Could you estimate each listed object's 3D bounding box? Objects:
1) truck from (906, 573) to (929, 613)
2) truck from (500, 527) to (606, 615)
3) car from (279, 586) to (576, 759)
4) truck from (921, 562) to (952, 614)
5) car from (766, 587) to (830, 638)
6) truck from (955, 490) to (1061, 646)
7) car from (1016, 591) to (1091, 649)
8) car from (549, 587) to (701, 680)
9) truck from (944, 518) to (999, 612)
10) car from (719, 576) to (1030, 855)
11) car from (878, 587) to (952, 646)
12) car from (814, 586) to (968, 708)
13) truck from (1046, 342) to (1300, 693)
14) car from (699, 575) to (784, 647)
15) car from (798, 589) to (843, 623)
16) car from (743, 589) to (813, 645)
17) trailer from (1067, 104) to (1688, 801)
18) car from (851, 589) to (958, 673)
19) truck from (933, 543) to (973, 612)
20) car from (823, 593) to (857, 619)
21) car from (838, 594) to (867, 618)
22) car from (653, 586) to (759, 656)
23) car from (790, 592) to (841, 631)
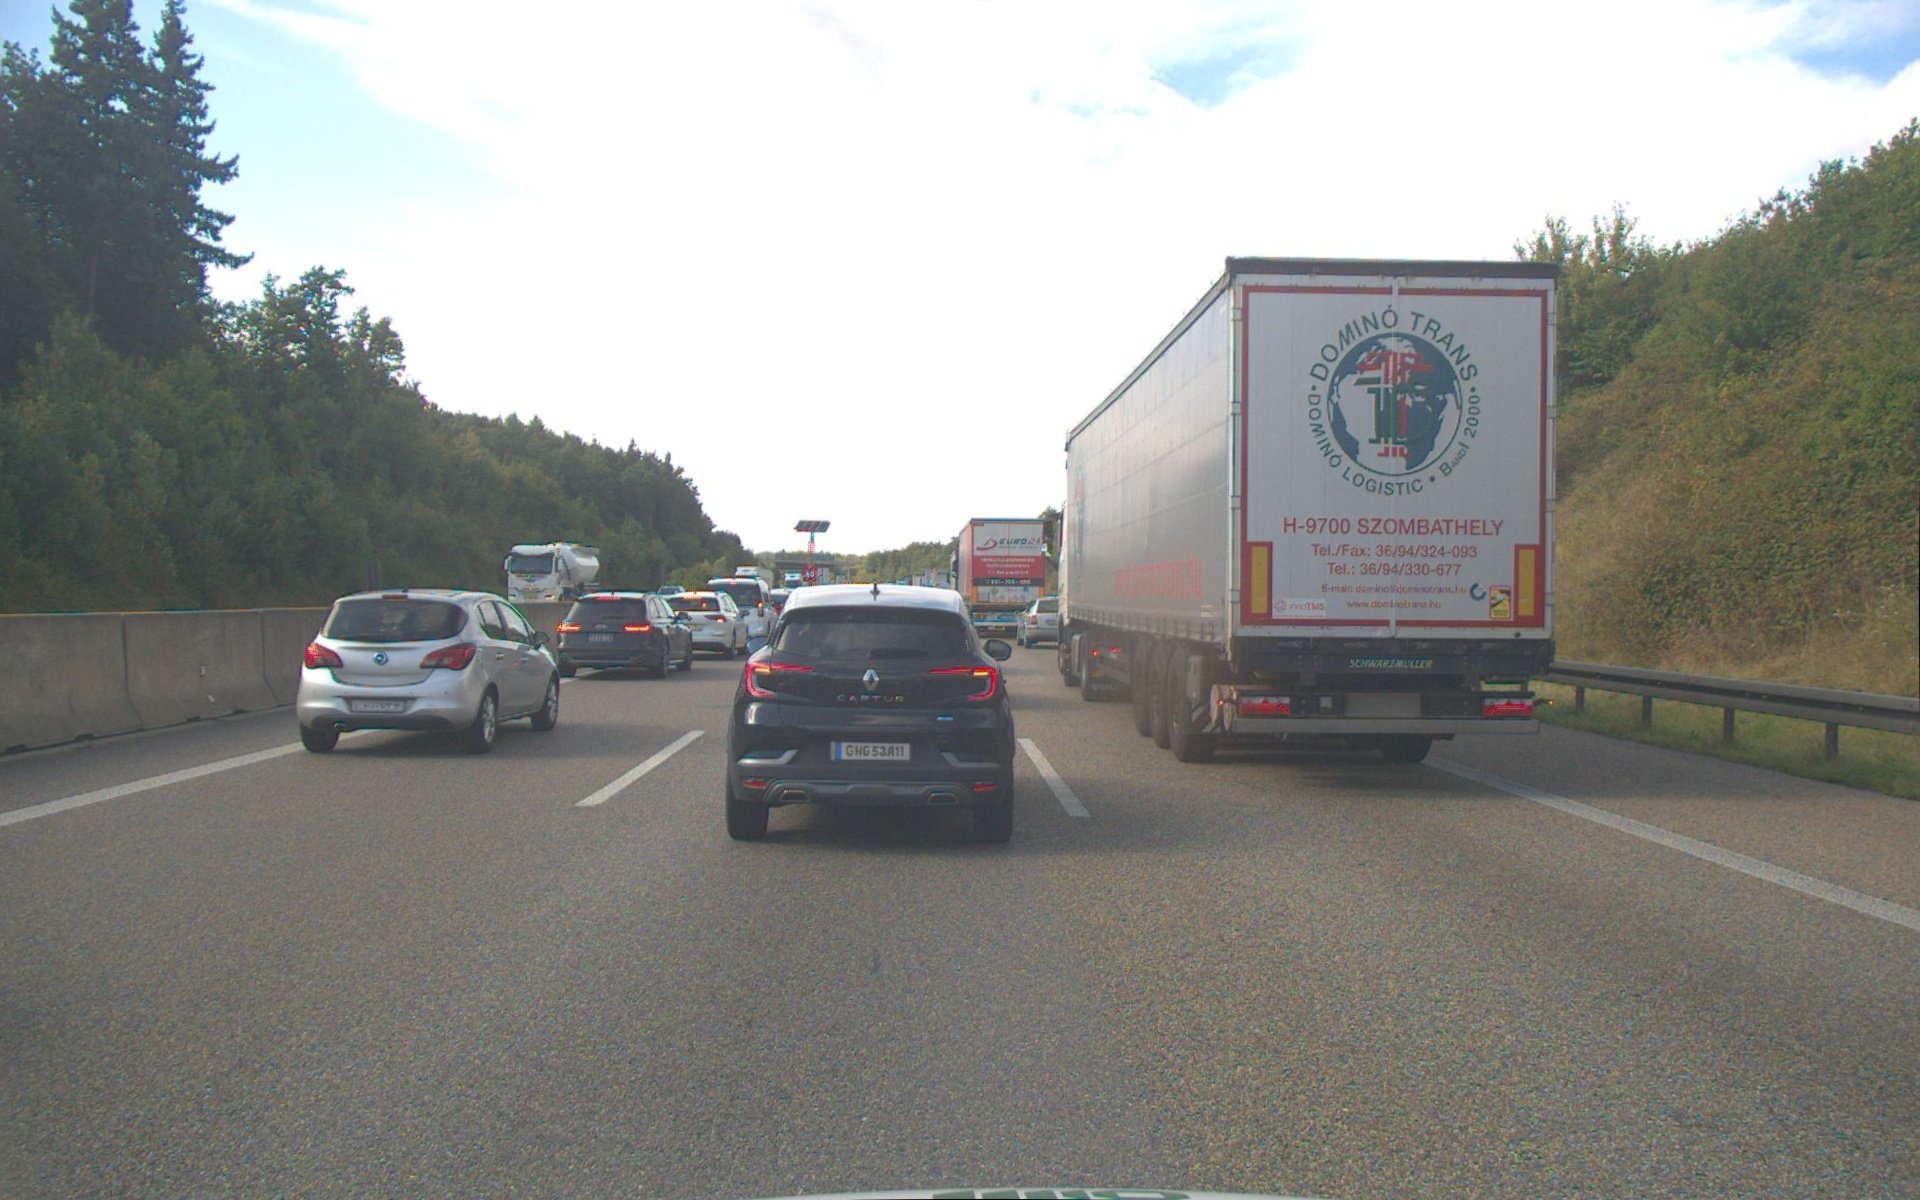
[{"bbox_3d":[-6.069,-0.963,238.490,3.102,5.601,12.734,1,0,-1],"label":"truck"},{"bbox_3d":[-22.278,-1.471,91.524,2.873,4.430,13.904,1,0,-2],"label":"truck"},{"bbox_3d":[-5.062,0.609,16.288,1.711,1.491,4.040,0,0,-2],"label":"car"},{"bbox_3d":[-2.524,-1.182,176.319,3.102,5.250,12.734,1,0,-1],"label":"truck"},{"bbox_3d":[-5.776,0.444,59.425,1.953,1.752,3.999,1,0,-1],"label":"car"},{"bbox_3d":[1.575,-1.032,61.185,3.296,5.132,12.734,1,0,-1],"label":"truck"},{"bbox_3d":[2.659,0.567,47.884,1.768,1.559,3.923,1,0,-3],"label":"car"},{"bbox_3d":[-5.852,0.537,29.446,1.805,1.481,4.746,1,0,-1],"label":"car"},{"bbox_3d":[0.617,-2.059,105.037,3.102,5.601,12.734,1,0,-1],"label":"truck"},{"bbox_3d":[-0.464,0.659,11.460,1.767,1.579,4.000,0,0,1],"label":"car"},{"bbox_3d":[-1.254,0.447,46.524,1.953,1.540,3.999,1,0,-1],"label":"car"},{"bbox_3d":[-0.927,0.611,23.290,1.953,1.540,3.999,1,0,-1],"label":"car"},{"bbox_3d":[3.074,-1.139,25.568,2.937,4.749,5.937,1,0,-2],"label":"truck"},{"bbox_3d":[-5.826,0.291,44.553,1.873,1.821,4.415,1,0,-3],"label":"car"},{"bbox_3d":[-6.889,0.268,82.073,1.953,1.641,3.999,1,0,-1],"label":"car"},{"bbox_3d":[-5.729,0.527,52.457,1.818,1.669,3.925,1,0,-1],"label":"car"},{"bbox_3d":[3.318,-1.041,18.030,2.941,4.742,13.285,1,0,-2],"label":"trailer"},{"bbox_3d":[-1.072,0.584,32.862,1.953,1.540,3.999,1,0,-1],"label":"car"},{"bbox_3d":[-0.515,-1.788,141.283,3.101,5.601,12.737,1,0,1],"label":"truck"},{"bbox_3d":[-7.804,0.376,107.623,1.953,1.641,3.999,1,0,-1],"label":"car"},{"bbox_3d":[-7.750,0.436,119.563,1.953,1.641,3.999,1,0,-1],"label":"car"},{"bbox_3d":[-5.697,0.458,37.583,1.768,1.486,4.308,1,0,-1],"label":"car"},{"bbox_3d":[-6.304,0.493,72.476,1.953,1.641,3.999,1,0,-1],"label":"car"}]
